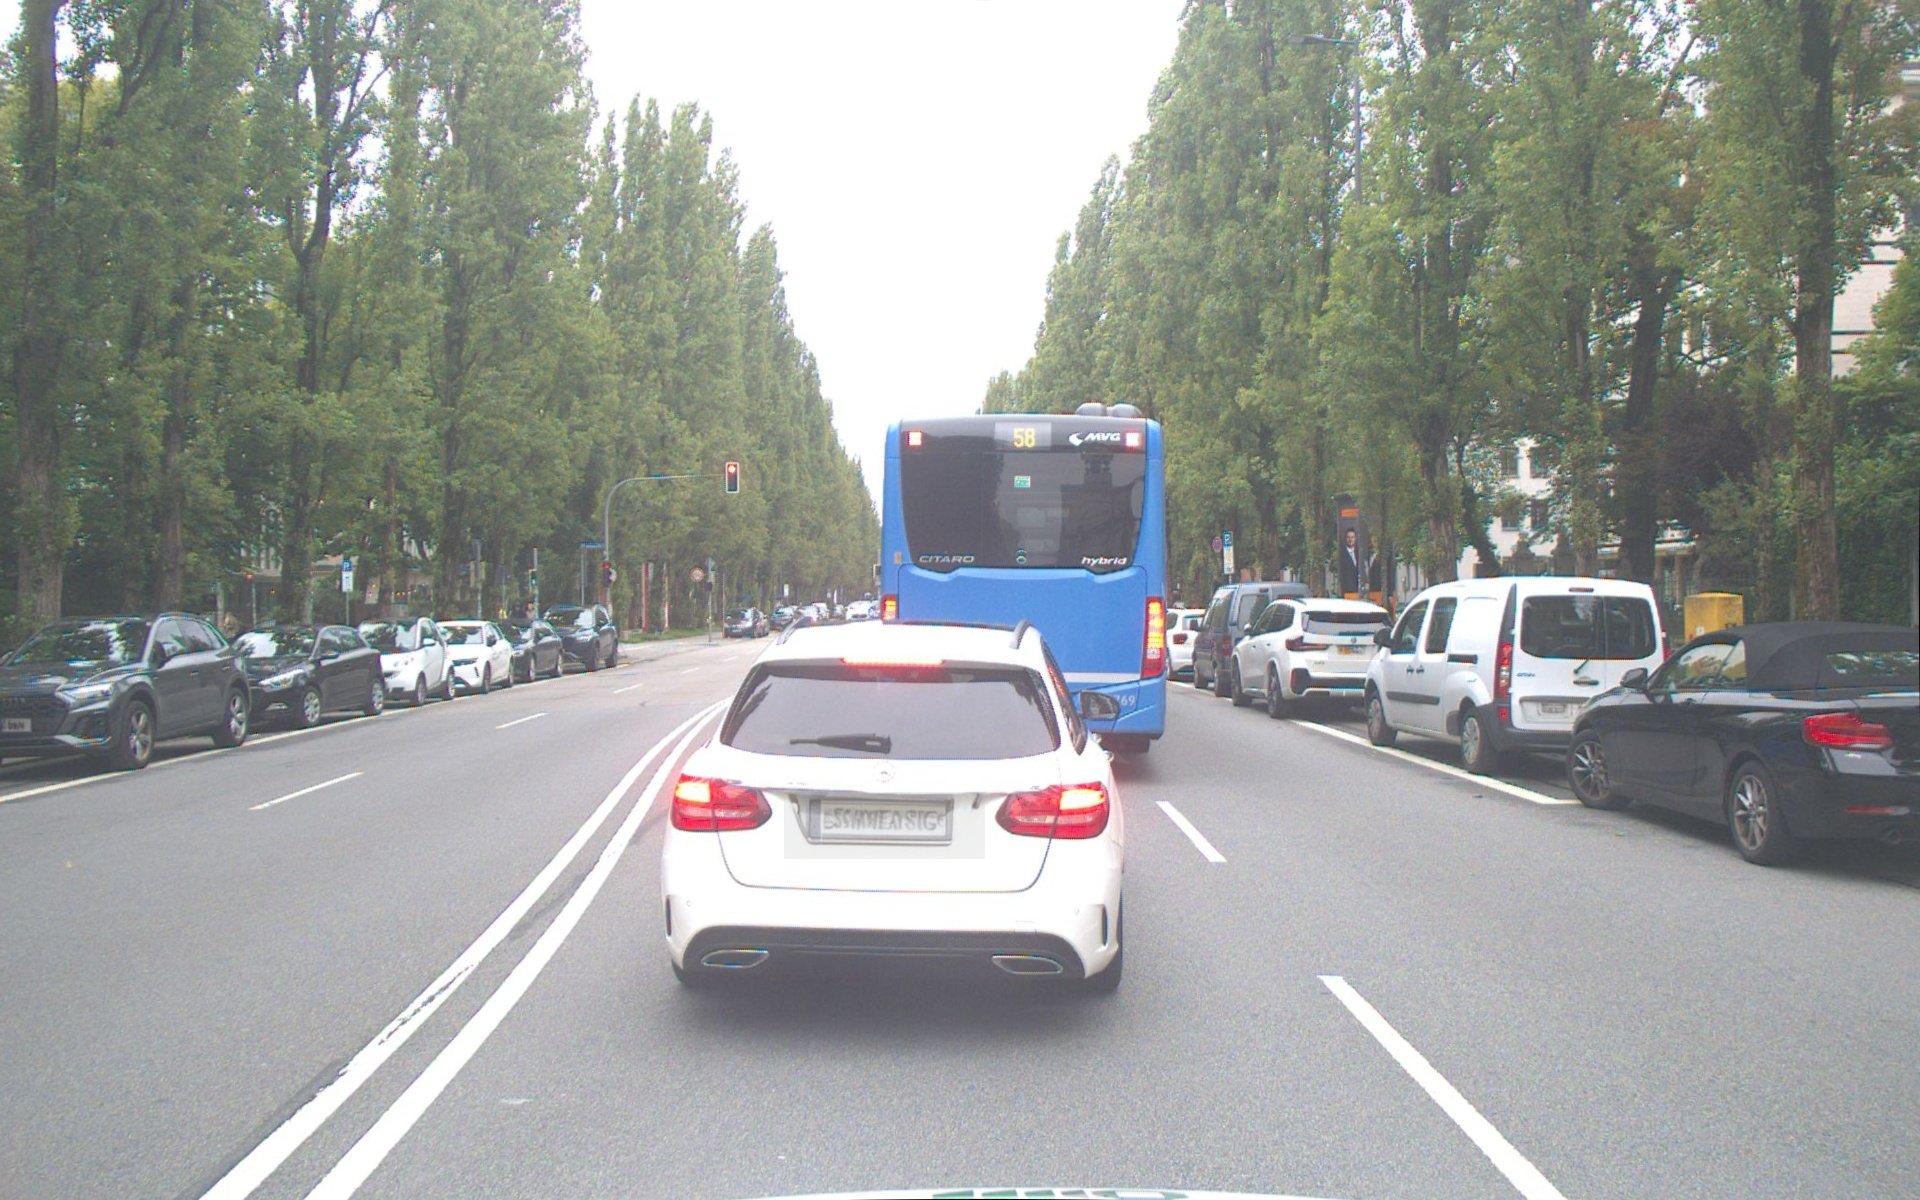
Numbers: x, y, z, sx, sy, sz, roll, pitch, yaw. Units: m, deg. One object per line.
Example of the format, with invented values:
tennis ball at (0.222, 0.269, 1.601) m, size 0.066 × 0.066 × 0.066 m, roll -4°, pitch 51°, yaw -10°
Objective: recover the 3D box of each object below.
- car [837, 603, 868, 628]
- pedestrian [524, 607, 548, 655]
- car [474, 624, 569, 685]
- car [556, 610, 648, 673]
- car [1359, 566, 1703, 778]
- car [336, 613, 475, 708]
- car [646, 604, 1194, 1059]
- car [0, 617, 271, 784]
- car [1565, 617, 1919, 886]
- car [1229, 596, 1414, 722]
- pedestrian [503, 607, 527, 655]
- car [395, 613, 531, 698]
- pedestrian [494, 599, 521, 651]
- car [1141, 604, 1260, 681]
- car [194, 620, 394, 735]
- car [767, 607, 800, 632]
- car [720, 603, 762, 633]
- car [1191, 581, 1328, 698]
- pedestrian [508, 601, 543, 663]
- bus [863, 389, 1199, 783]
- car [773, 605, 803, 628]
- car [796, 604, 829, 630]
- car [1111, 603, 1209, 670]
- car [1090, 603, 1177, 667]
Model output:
car at (-7.273, 1.049, 112.354) m, size 1.953 × 1.647 × 3.998 m, roll -1°, pitch 0°, yaw -2°
pedestrian at (-18.391, 1.333, 71.758) m, size 0.814 × 2.049 × 0.777 m, roll -1°, pitch 0°, yaw -4°
car at (-10.367, 1.268, 39.275) m, size 1.263 × 1.296 × 3.848 m, roll -1°, pitch 0°, yaw -1°
car at (-9.682, 1.085, 45.008) m, size 1.672 × 1.579 × 3.999 m, roll -1°, pitch 0°, yaw -1°
car at (5.481, 0.630, 16.494) m, size 1.796 × 1.804 × 4.228 m, roll 1°, pitch 0°, yaw -3°
car at (-9.965, 1.051, 29.930) m, size 1.381 × 1.579 × 3.443 m, roll -1°, pitch 0°, yaw -1°
car at (-0.102, 0.766, 7.704) m, size 1.788 × 1.480 × 4.583 m, roll 0°, pitch 0°, yaw 1°
car at (-9.585, 1.056, 18.796) m, size 1.755 × 1.575 × 4.336 m, roll -4°, pitch 0°, yaw -3°
car at (5.562, 0.829, 10.837) m, size 1.711 × 1.378 × 4.000 m, roll 0°, pitch 0°, yaw 0°
car at (5.044, 0.769, 23.581) m, size 1.643 × 1.624 × 4.086 m, roll 1°, pitch 0°, yaw -1°
pedestrian at (-19.271, 1.337, 71.638) m, size 0.814 × 2.049 × 0.777 m, roll -1°, pitch 0°, yaw -4°
car at (-10.072, 1.075, 33.793) m, size 1.674 × 1.575 × 3.998 m, roll -1°, pitch 0°, yaw -3°
pedestrian at (-15.514, 0.851, 56.701) m, size 0.689 × 1.766 × 0.809 m, roll -1°, pitch 0°, yaw -3°
car at (5.049, 0.848, 35.183) m, size 1.762 × 1.501 × 3.998 m, roll -1°, pitch 0°, yaw -3°
car at (-9.901, 1.103, 24.886) m, size 1.509 × 1.458 × 3.867 m, roll -4°, pitch 0°, yaw -3°
car at (-11.224, 1.206, 105.559) m, size 1.785 × 1.512 × 3.998 m, roll -1°, pitch 0°, yaw -2°
car at (-11.371, 0.908, 86.108) m, size 1.785 × 1.512 × 3.998 m, roll -1°, pitch 0°, yaw -2°
car at (5.138, 0.639, 28.831) m, size 1.668 × 1.868 × 4.000 m, roll 1°, pitch 0°, yaw 0°
pedestrian at (-13.000, 0.950, 49.490) m, size 0.805 × 1.795 × 1.080 m, roll -1°, pitch 0°, yaw -4°
bus at (0.953, -0.120, 18.352) m, size 2.795 × 3.270 × 9.065 m, roll 0°, pitch 0°, yaw 5°
car at (-11.890, 1.130, 114.660) m, size 1.785 × 1.512 × 3.998 m, roll -1°, pitch 0°, yaw -2°
car at (-8.926, 1.000, 100.316) m, size 1.785 × 1.512 × 3.998 m, roll -1°, pitch 0°, yaw -2°
car at (4.819, 0.846, 40.320) m, size 1.750 × 1.518 × 3.998 m, roll -1°, pitch 0°, yaw -3°
car at (4.726, 0.917, 45.480) m, size 1.773 × 1.646 × 3.998 m, roll -1°, pitch 0°, yaw -3°
